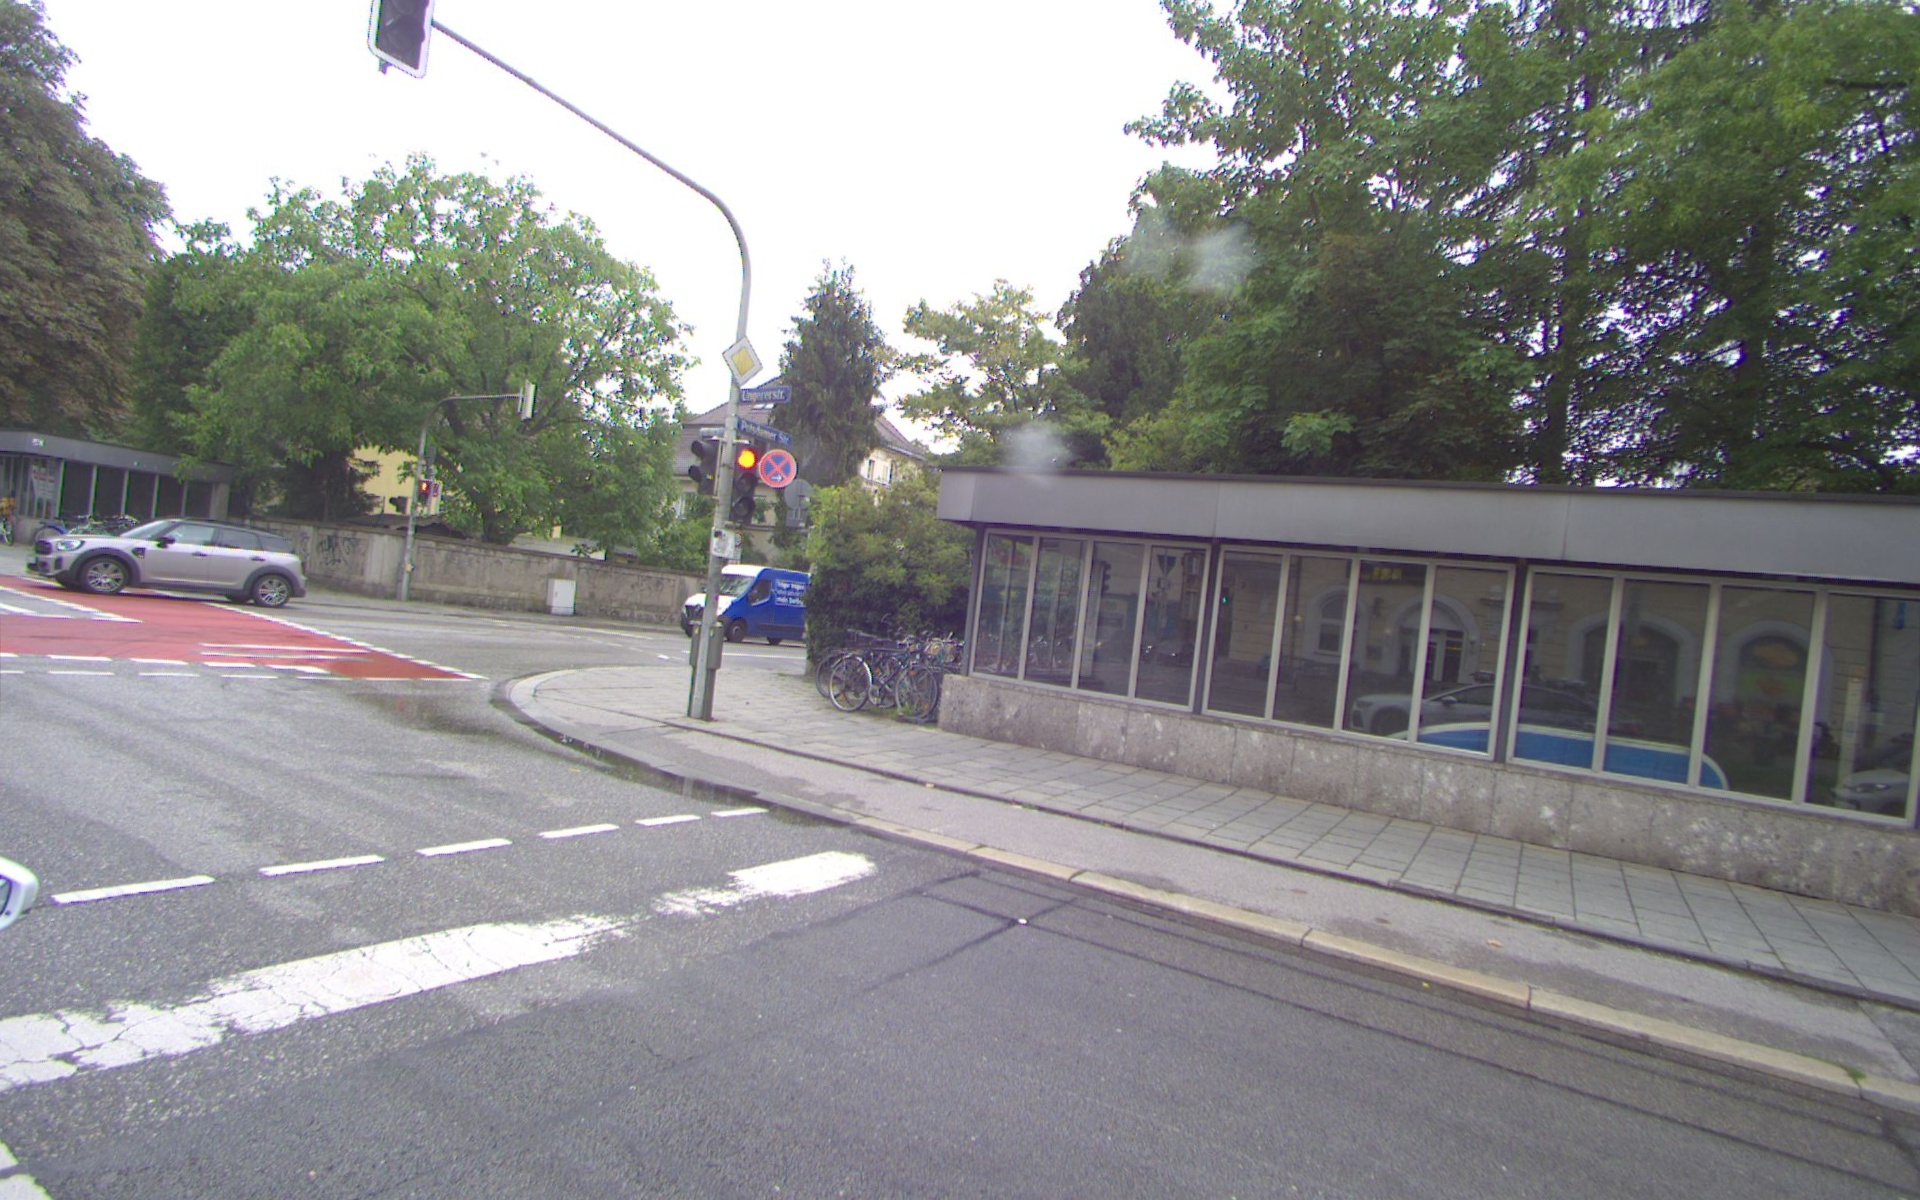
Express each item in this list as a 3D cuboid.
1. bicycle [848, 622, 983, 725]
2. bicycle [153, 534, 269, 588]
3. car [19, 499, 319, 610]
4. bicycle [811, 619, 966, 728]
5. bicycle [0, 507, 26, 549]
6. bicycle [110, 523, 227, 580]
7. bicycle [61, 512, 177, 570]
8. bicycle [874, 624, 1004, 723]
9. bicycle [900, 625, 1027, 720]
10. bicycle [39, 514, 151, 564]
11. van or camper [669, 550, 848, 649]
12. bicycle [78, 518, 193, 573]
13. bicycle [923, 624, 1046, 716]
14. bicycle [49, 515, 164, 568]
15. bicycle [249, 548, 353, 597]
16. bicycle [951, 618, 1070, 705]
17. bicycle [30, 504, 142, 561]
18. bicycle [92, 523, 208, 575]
[{"bbox_3d":[-0.599,0.952,13.277,1.707,1.135,0.469,6,0,32],"label":"bicycle"},{"bbox_3d":[-18.335,-0.935,24.671,0.625,1.026,2.141,7,-1,39],"label":"bicycle"},{"bbox_3d":[-15.108,-0.806,19.459,1.668,1.532,4.172,7,-1,33],"label":"car"},{"bbox_3d":[-0.922,0.906,12.707,1.858,1.135,0.600,6,0,32],"label":"bicycle"},{"bbox_3d":[-26.310,-2.019,27.450,1.981,1.027,0.557,7,0,30],"label":"bicycle"},{"bbox_3d":[-19.724,-1.199,25.114,0.594,1.114,2.141,7,0,39],"label":"bicycle"},{"bbox_3d":[-21.686,-1.507,25.980,0.594,1.192,2.141,7,0,39],"label":"bicycle"},{"bbox_3d":[-0.303,0.984,13.776,1.707,1.135,0.469,6,0,32],"label":"bicycle"},{"bbox_3d":[0.036,1.016,14.324,1.707,1.135,0.469,6,0,32],"label":"bicycle"},{"bbox_3d":[-23.010,-1.610,26.795,0.594,1.026,2.141,7,-1,39],"label":"bicycle"},{"bbox_3d":[-6.287,0.066,32.123,2.034,2.499,5.557,7,-1,34],"label":"van or camper"},{"bbox_3d":[-21.083,-1.387,25.775,0.594,1.099,2.141,7,0,39],"label":"bicycle"},{"bbox_3d":[0.346,1.019,14.839,1.707,1.135,0.469,6,0,32],"label":"bicycle"},{"bbox_3d":[-22.293,-1.515,26.316,0.594,1.075,2.141,7,-1,39],"label":"bicycle"},{"bbox_3d":[-17.465,-0.725,26.702,0.625,1.026,2.141,7,-1,39],"label":"bicycle"},{"bbox_3d":[0.762,0.930,15.486,1.707,1.135,0.469,6,0,32],"label":"bicycle"},{"bbox_3d":[-23.578,-1.807,27.183,0.594,1.233,2.141,7,0,39],"label":"bicycle"},{"bbox_3d":[-20.386,-1.271,25.372,0.594,1.026,2.141,7,-1,39],"label":"bicycle"}]
